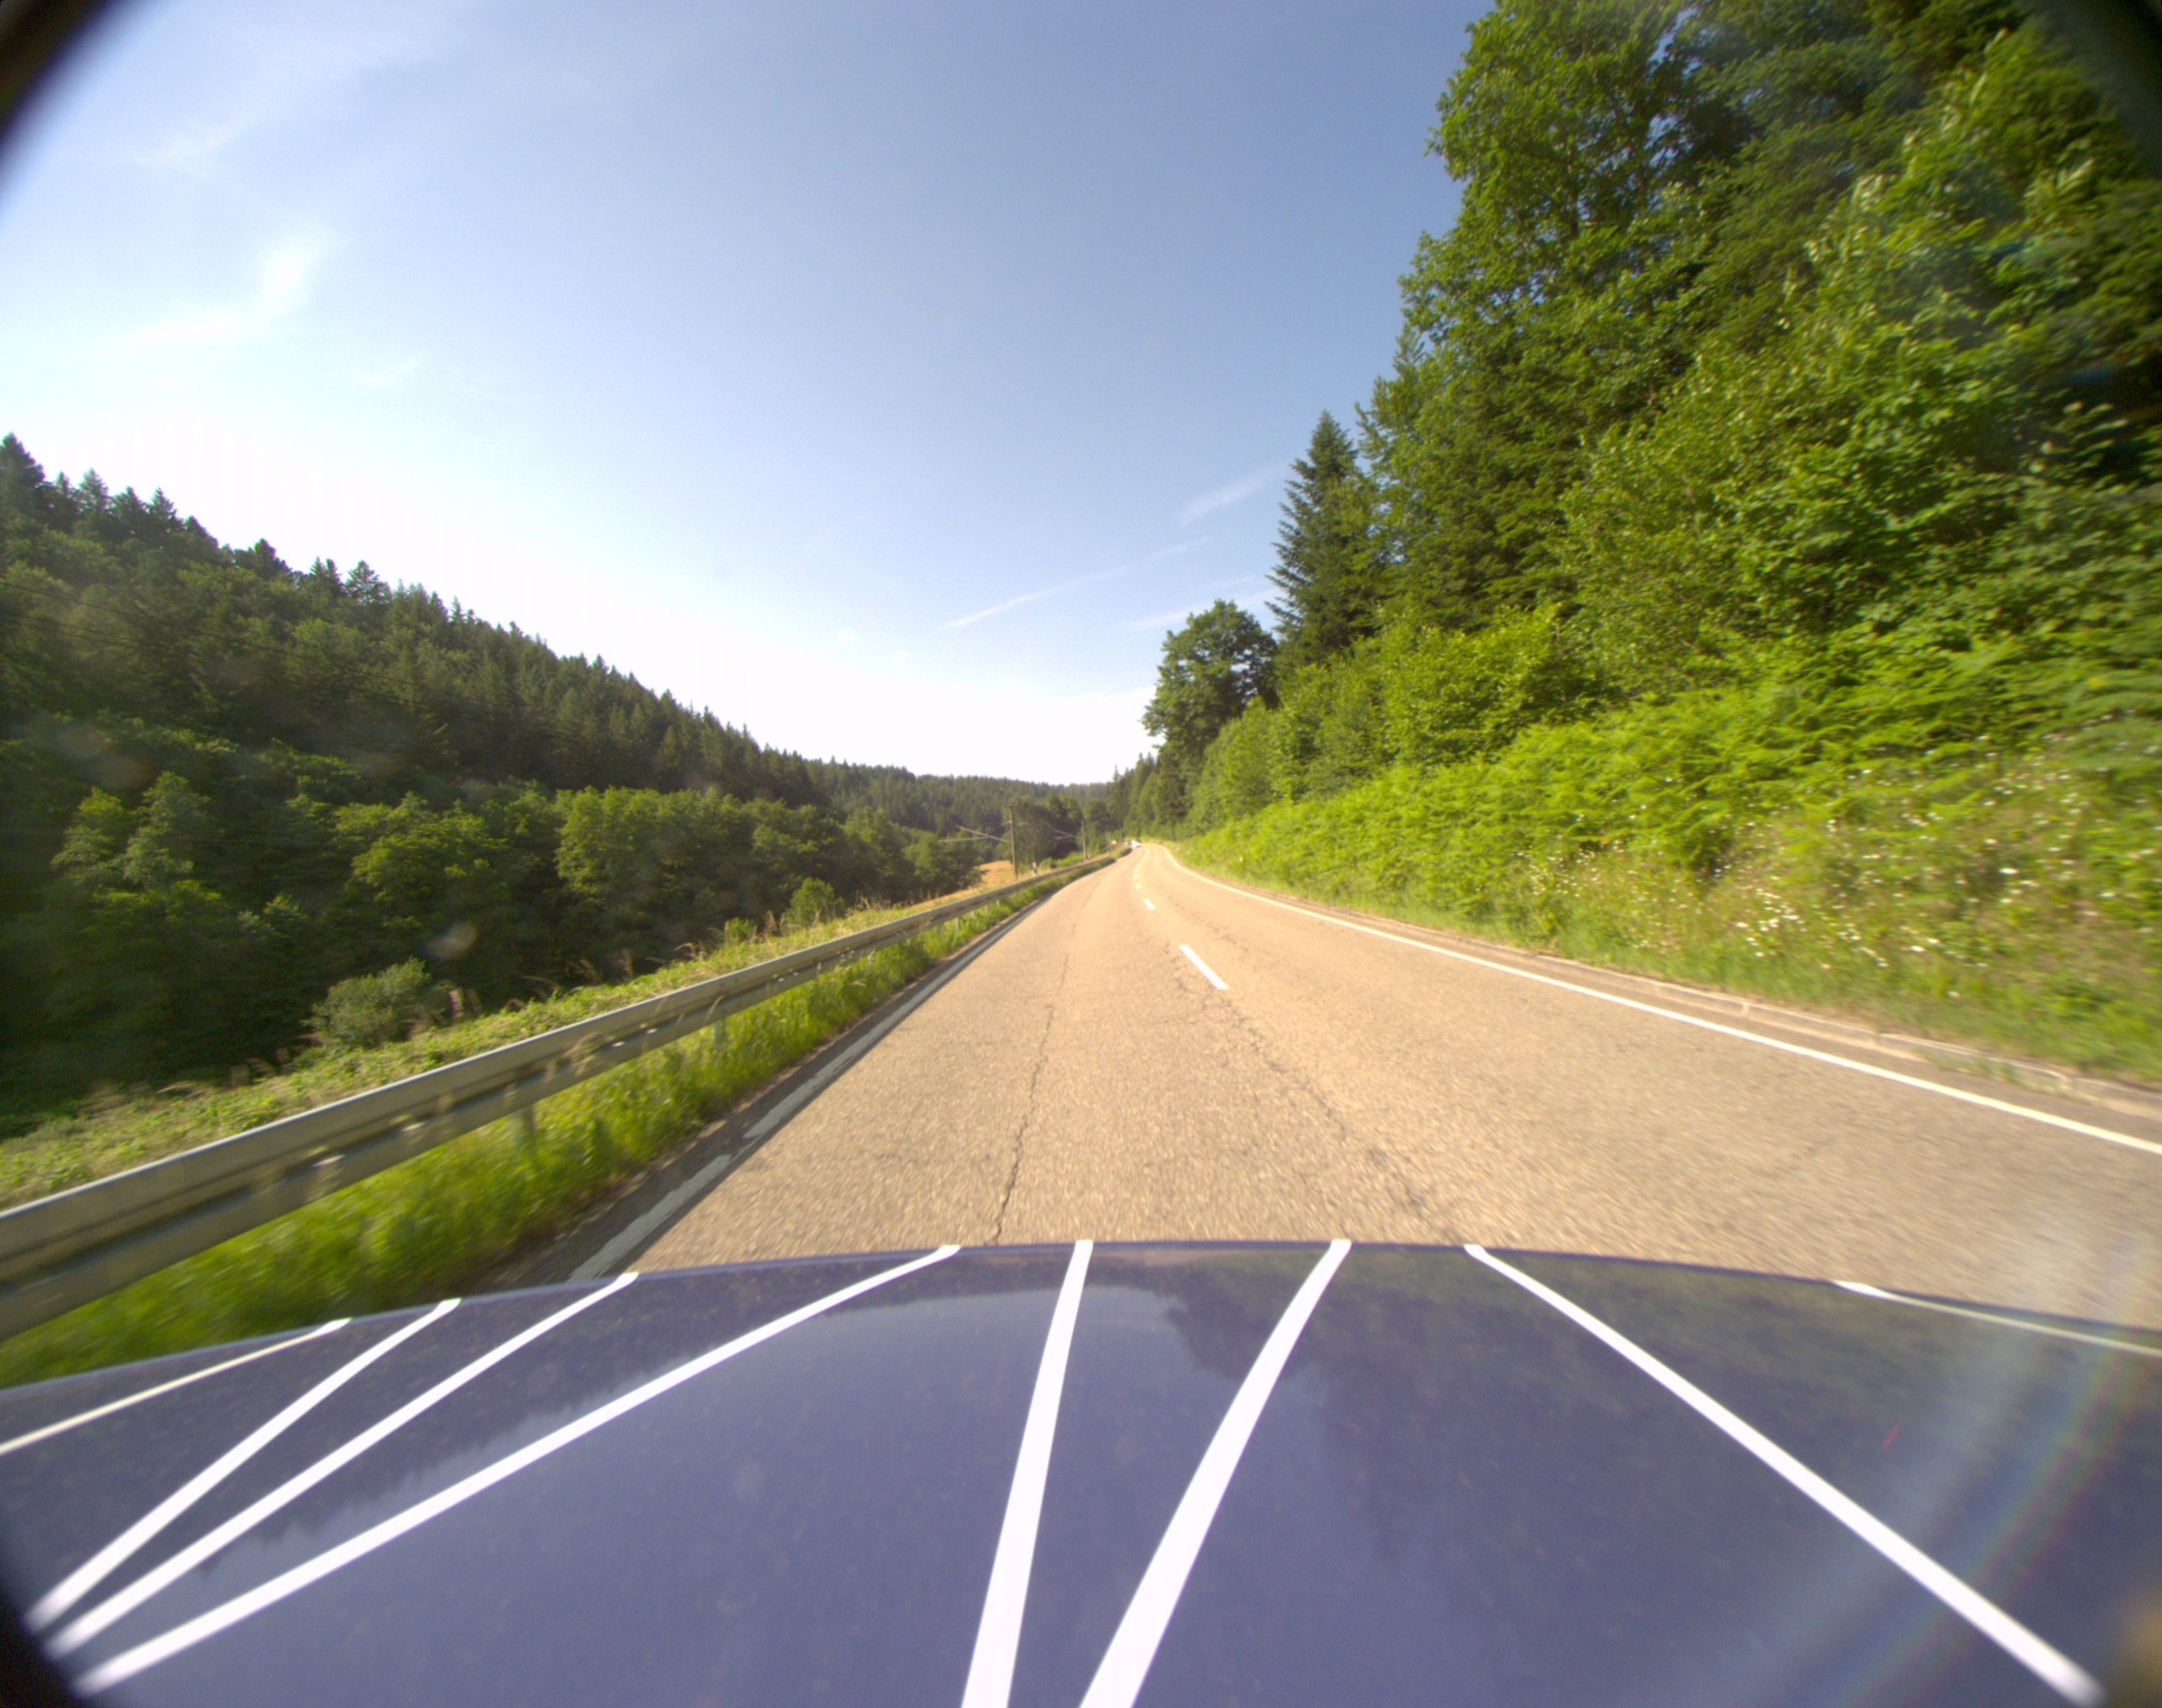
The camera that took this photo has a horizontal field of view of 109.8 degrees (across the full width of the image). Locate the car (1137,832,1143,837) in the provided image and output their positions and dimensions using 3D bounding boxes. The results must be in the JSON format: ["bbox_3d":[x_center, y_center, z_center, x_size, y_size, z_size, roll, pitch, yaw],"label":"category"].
[{"bbox_3d":[19.937,-6.727,257.375,1.840,1.572,4.876,-4,1,6],"label":"car"}]

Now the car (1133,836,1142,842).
[{"bbox_3d":[15.107,-3.979,202.819,1.703,1.543,3.786,-5,2,-2],"label":"car"}]
